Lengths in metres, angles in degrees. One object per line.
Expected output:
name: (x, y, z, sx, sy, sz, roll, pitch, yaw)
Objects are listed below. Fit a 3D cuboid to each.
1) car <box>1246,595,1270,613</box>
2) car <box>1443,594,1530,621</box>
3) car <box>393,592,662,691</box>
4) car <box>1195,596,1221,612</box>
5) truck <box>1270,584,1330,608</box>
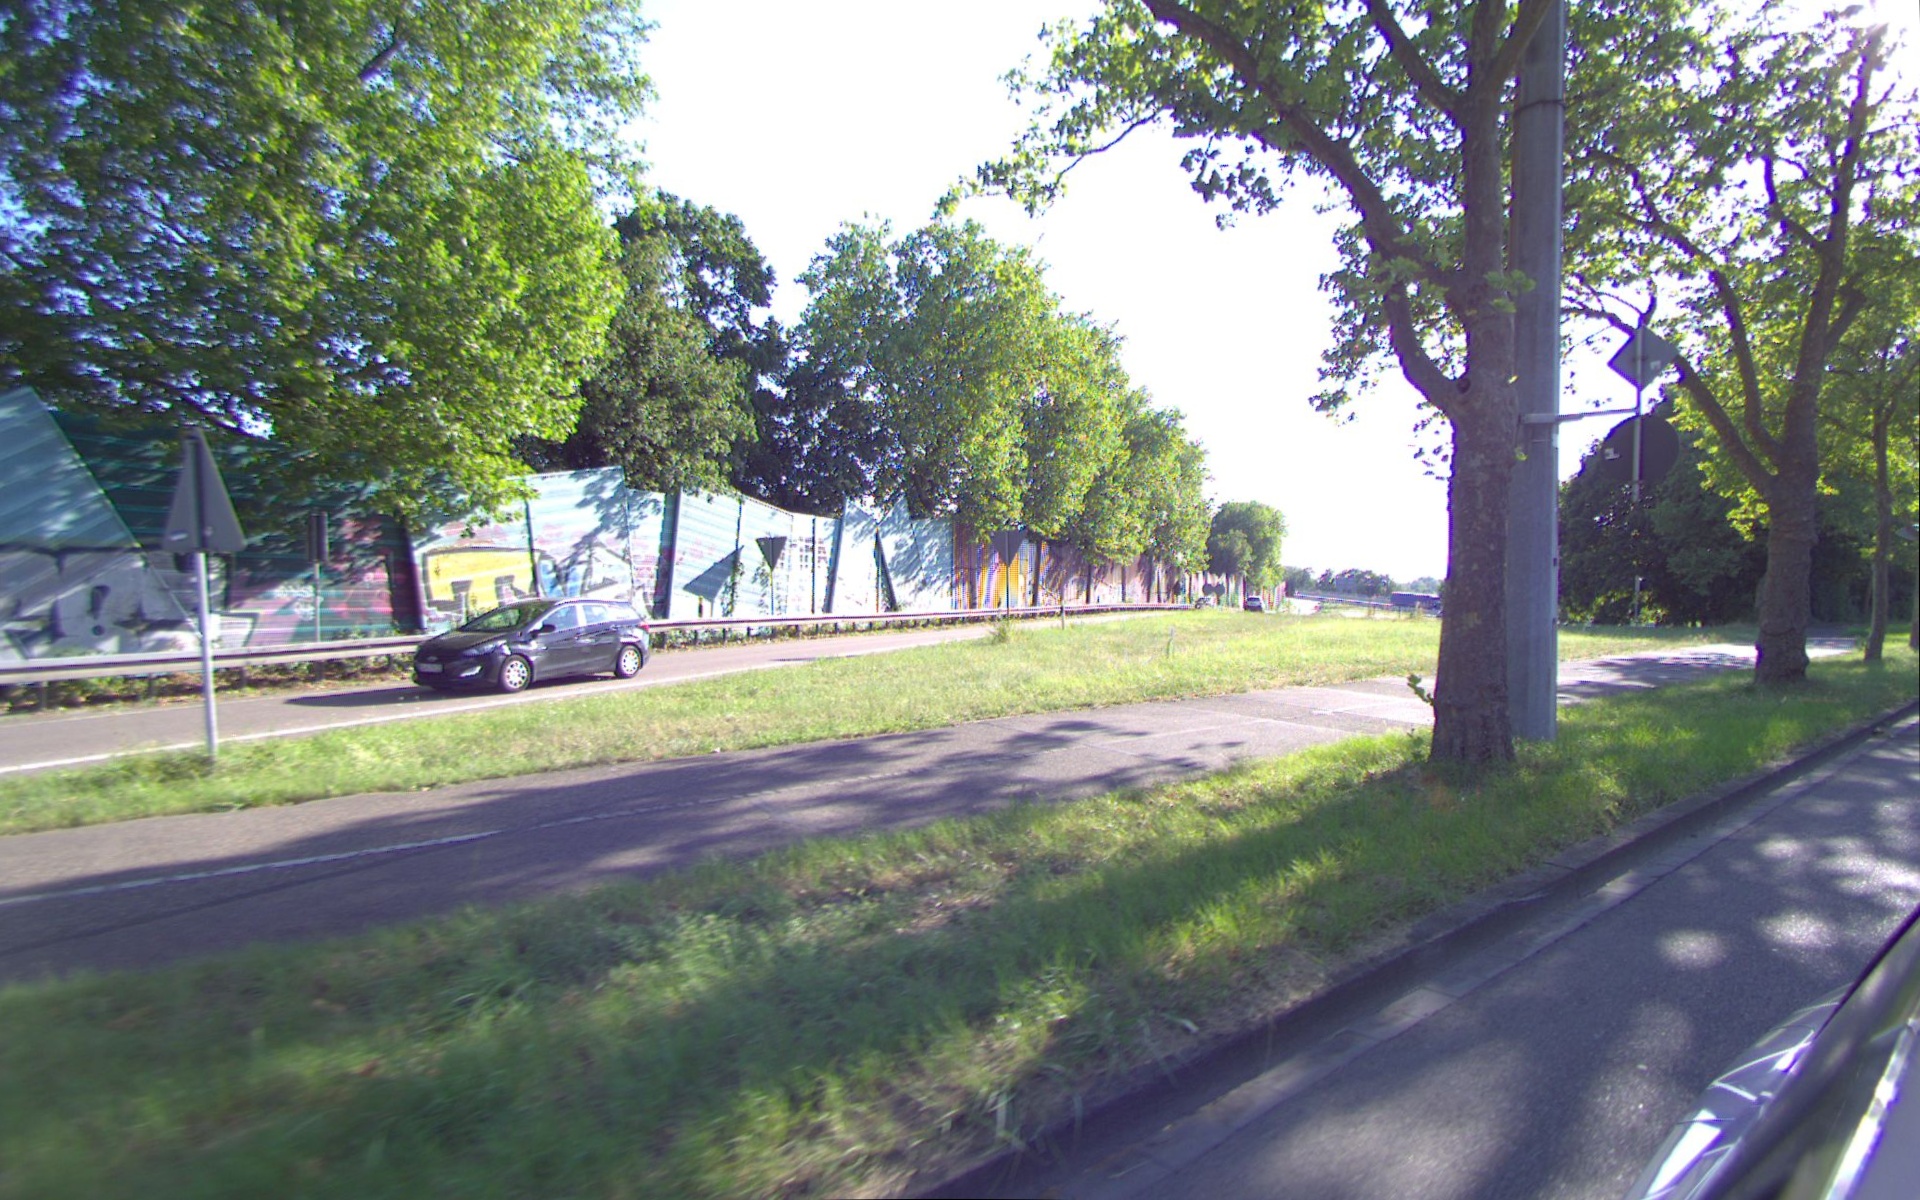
car: (30.123, 0.363, 102.152, 1.796, 1.795, 3.829, 0, 1, 25)
car: (29.954, 0.387, 57.603, 4.119, 1.435, 1.669, 1, 1, 42)
car: (-7.249, 0.609, 17.443, 1.779, 1.458, 4.189, 0, 1, 24)
car: (23.601, 0.336, 96.308, 1.778, 1.458, 4.191, 0, 1, 23)
truck: (64.873, -0.767, 193.301, 10.485, 3.537, 2.634, 6, 3, 21)
